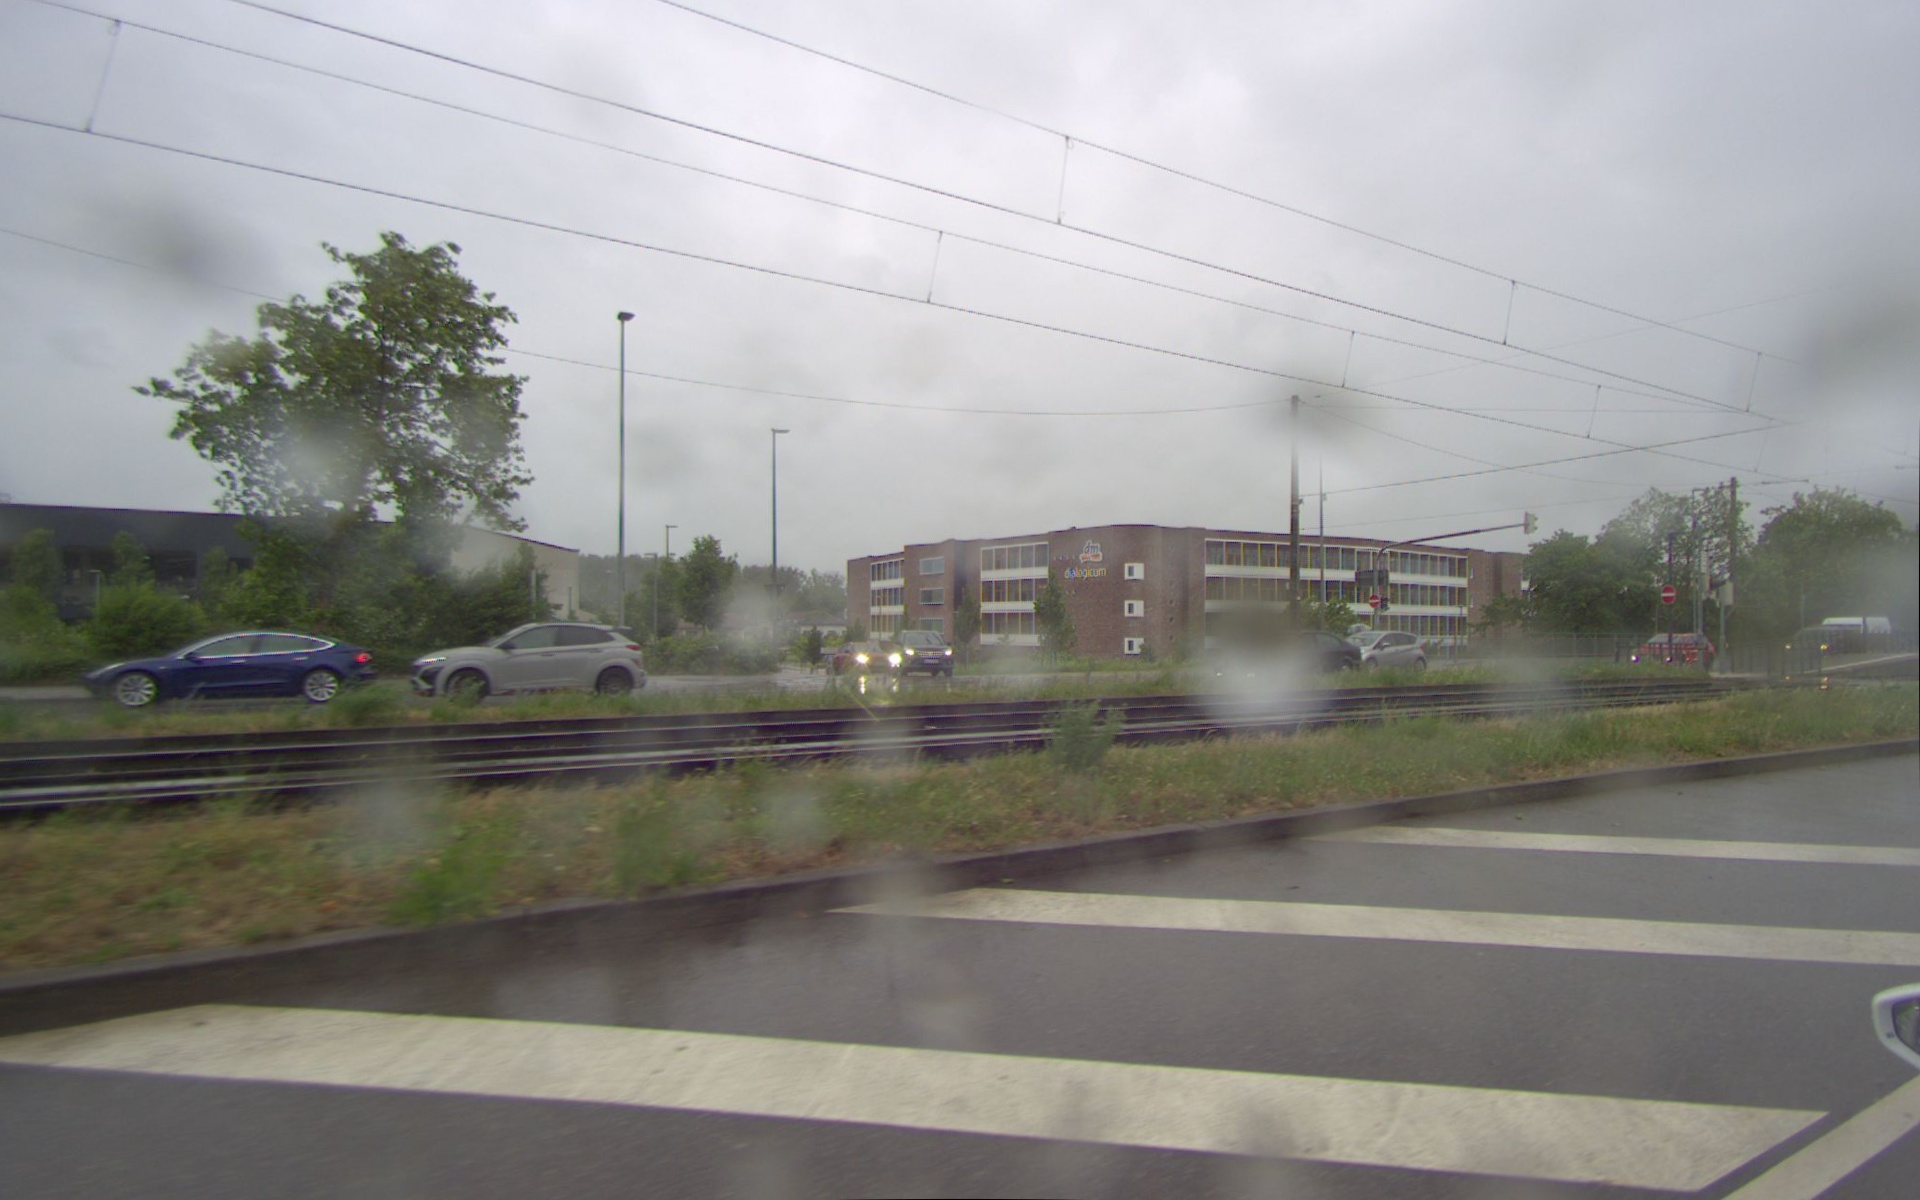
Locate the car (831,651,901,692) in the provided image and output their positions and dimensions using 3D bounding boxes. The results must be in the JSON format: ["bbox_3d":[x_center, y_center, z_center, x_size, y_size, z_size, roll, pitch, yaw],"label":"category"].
[{"bbox_3d":[-3.953,2.921,41.707,1.968,1.461,4.357,1,-1,-18],"label":"car"}]

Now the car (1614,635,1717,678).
[{"bbox_3d":[30.527,2.391,43.438,4.572,1.729,1.984,1,-1,-31],"label":"car"}]

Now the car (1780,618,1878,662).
[{"bbox_3d":[37.664,1.718,43.518,4.209,1.795,1.984,1,-1,-31],"label":"car"}]

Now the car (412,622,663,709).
[{"bbox_3d":[-8.177,1.210,19.530,4.250,1.506,1.983,1,-1,-32],"label":"car"}]

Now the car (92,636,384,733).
[{"bbox_3d":[-14.094,1.583,19.987,4.489,1.703,1.983,1,-1,-32],"label":"car"}]

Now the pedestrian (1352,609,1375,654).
[{"bbox_3d":[18.366,1.433,45.723,0.688,2.040,0.695,1,-1,-30],"label":"pedestrian"}]

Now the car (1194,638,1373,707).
[{"bbox_3d":[8.357,1.850,25.888,4.330,1.616,1.985,1,-5,-31],"label":"car"}]

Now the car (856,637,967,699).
[{"bbox_3d":[-1.749,2.306,35.094,1.982,1.884,3.957,1,-1,-38],"label":"car"}]

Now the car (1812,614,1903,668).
[{"bbox_3d":[48.580,2.196,54.332,5.672,2.748,2.109,1,-1,-31],"label":"car"}]

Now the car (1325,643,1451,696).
[{"bbox_3d":[14.593,2.324,34.209,4.046,1.617,1.984,1,-1,-31],"label":"car"}]
